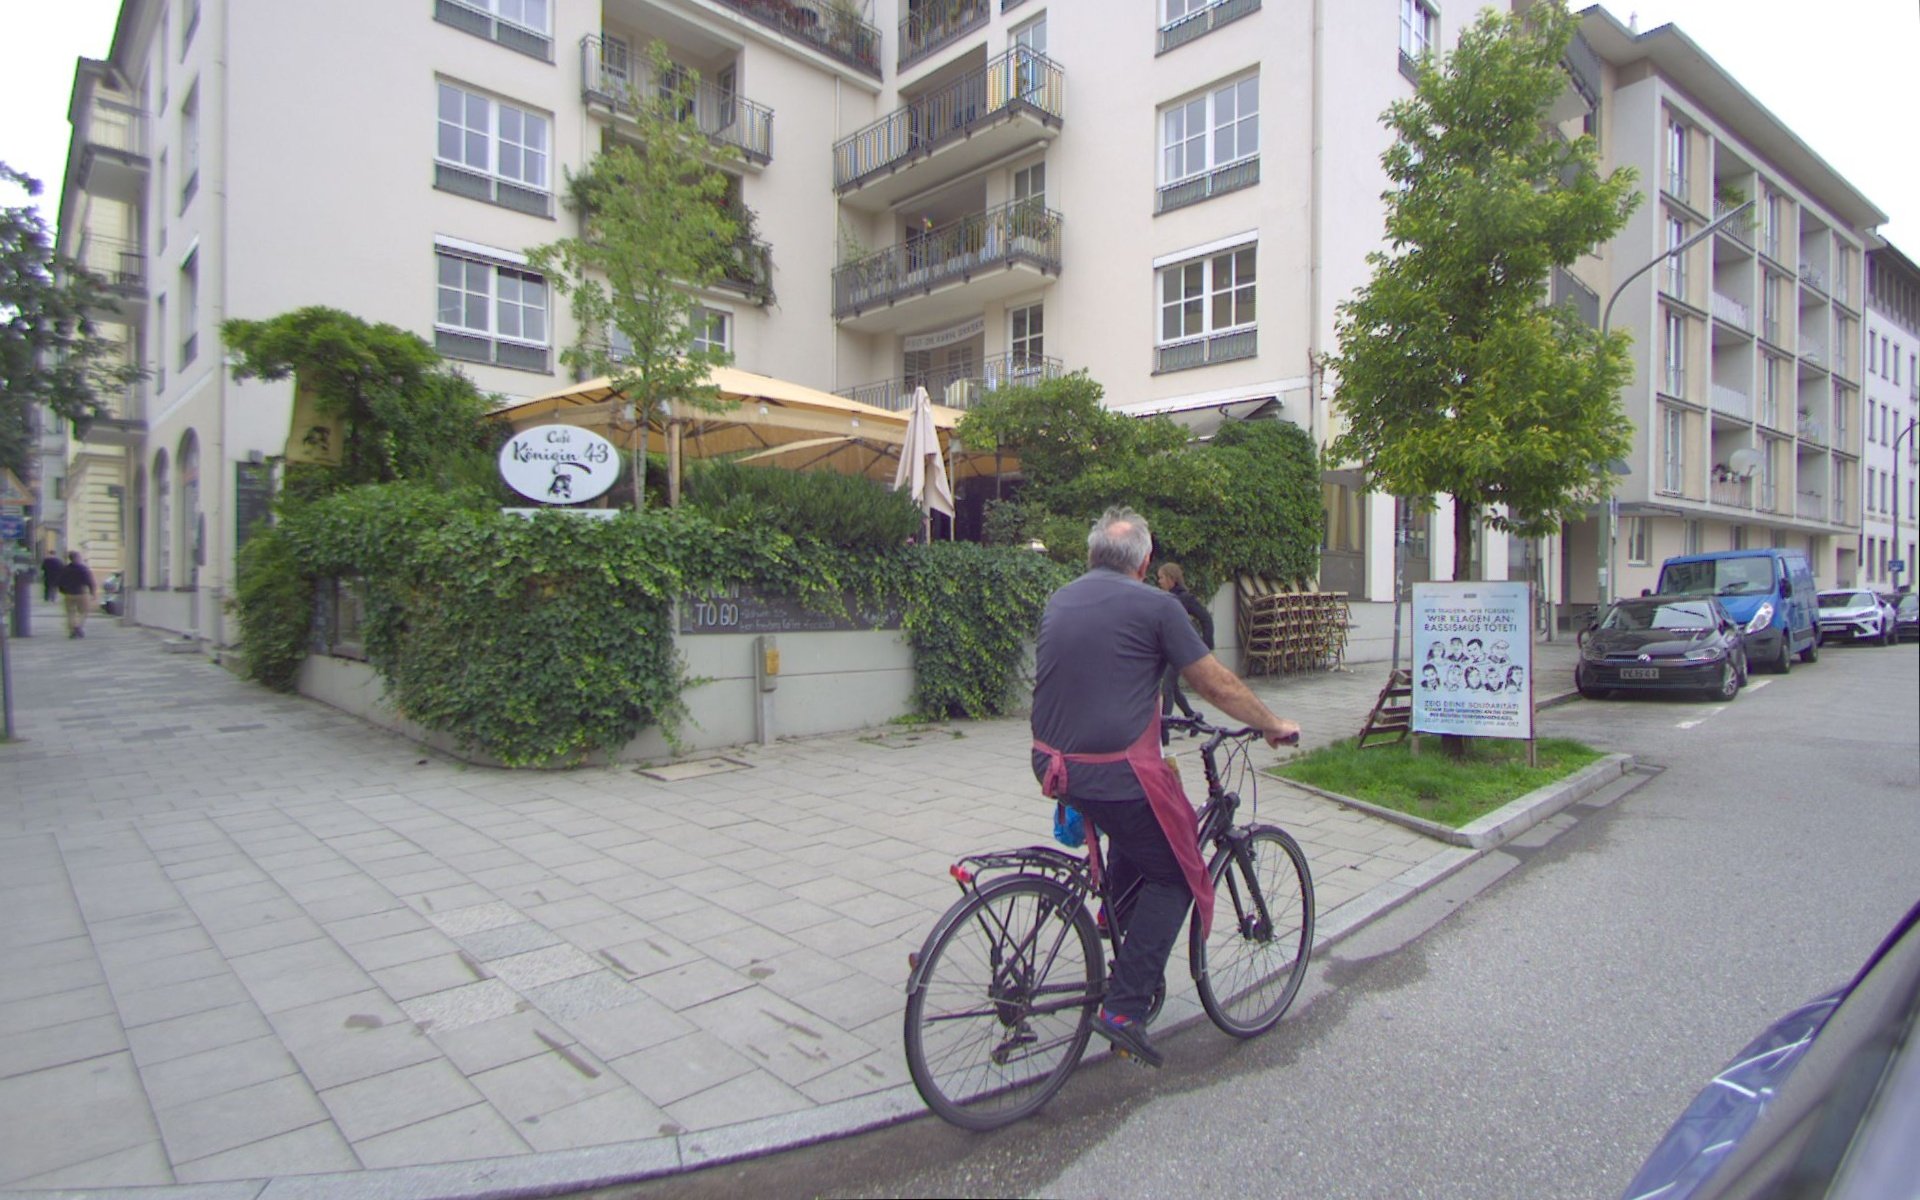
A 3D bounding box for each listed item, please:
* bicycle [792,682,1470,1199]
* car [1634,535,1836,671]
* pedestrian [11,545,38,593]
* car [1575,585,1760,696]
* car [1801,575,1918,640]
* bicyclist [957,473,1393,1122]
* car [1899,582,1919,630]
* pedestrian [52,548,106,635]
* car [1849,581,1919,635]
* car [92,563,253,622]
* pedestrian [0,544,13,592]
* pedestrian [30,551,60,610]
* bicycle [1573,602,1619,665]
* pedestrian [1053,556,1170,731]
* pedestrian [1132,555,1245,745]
[{"bbox_3d":[0.642,0.861,3.202,2.150,1.032,0.879,0,1,-37],"label":"bicycle"},{"bbox_3d":[14.904,0.010,19.354,4.944,2.242,2.111,-3,-2,-43],"label":"car"},{"bbox_3d":[-40.029,-1.332,43.303,0.828,2.039,0.777,1,0,41],"label":"pedestrian"},{"bbox_3d":[10.541,0.539,14.959,1.713,1.413,3.939,-4,-2,42],"label":"car"},{"bbox_3d":[23.686,0.226,26.595,4.230,1.543,1.777,1,-4,-42],"label":"car"},{"bbox_3d":[0.671,0.489,3.203,1.030,1.629,0.878,1,0,-37],"label":"bicyclist"},{"bbox_3d":[31.865,0.159,32.580,4.045,1.488,1.705,0,-3,-38],"label":"car"},{"bbox_3d":[-18.020,-0.184,20.698,0.775,1.735,0.830,1,0,-44],"label":"pedestrian"},{"bbox_3d":[27.806,0.225,29.509,4.605,1.448,1.776,0,-4,-36],"label":"car"},{"bbox_3d":[-22.019,-0.220,28.356,3.423,1.549,1.573,0,1,-43],"label":"car"},{"bbox_3d":[-40.581,-1.353,42.717,0.828,2.039,0.777,1,0,41],"label":"pedestrian"},{"bbox_3d":[-32.354,-0.685,35.777,0.743,2.039,0.830,1,0,-44],"label":"pedestrian"},{"bbox_3d":[11.797,0.591,18.751,0.563,1.083,1.763,1,1,37],"label":"bicycle"},{"bbox_3d":[1.496,0.388,9.998,0.816,1.626,0.807,-1,2,-45],"label":"pedestrian"},{"bbox_3d":[2.107,0.416,9.312,0.678,1.648,0.817,2,2,44],"label":"pedestrian"}]
